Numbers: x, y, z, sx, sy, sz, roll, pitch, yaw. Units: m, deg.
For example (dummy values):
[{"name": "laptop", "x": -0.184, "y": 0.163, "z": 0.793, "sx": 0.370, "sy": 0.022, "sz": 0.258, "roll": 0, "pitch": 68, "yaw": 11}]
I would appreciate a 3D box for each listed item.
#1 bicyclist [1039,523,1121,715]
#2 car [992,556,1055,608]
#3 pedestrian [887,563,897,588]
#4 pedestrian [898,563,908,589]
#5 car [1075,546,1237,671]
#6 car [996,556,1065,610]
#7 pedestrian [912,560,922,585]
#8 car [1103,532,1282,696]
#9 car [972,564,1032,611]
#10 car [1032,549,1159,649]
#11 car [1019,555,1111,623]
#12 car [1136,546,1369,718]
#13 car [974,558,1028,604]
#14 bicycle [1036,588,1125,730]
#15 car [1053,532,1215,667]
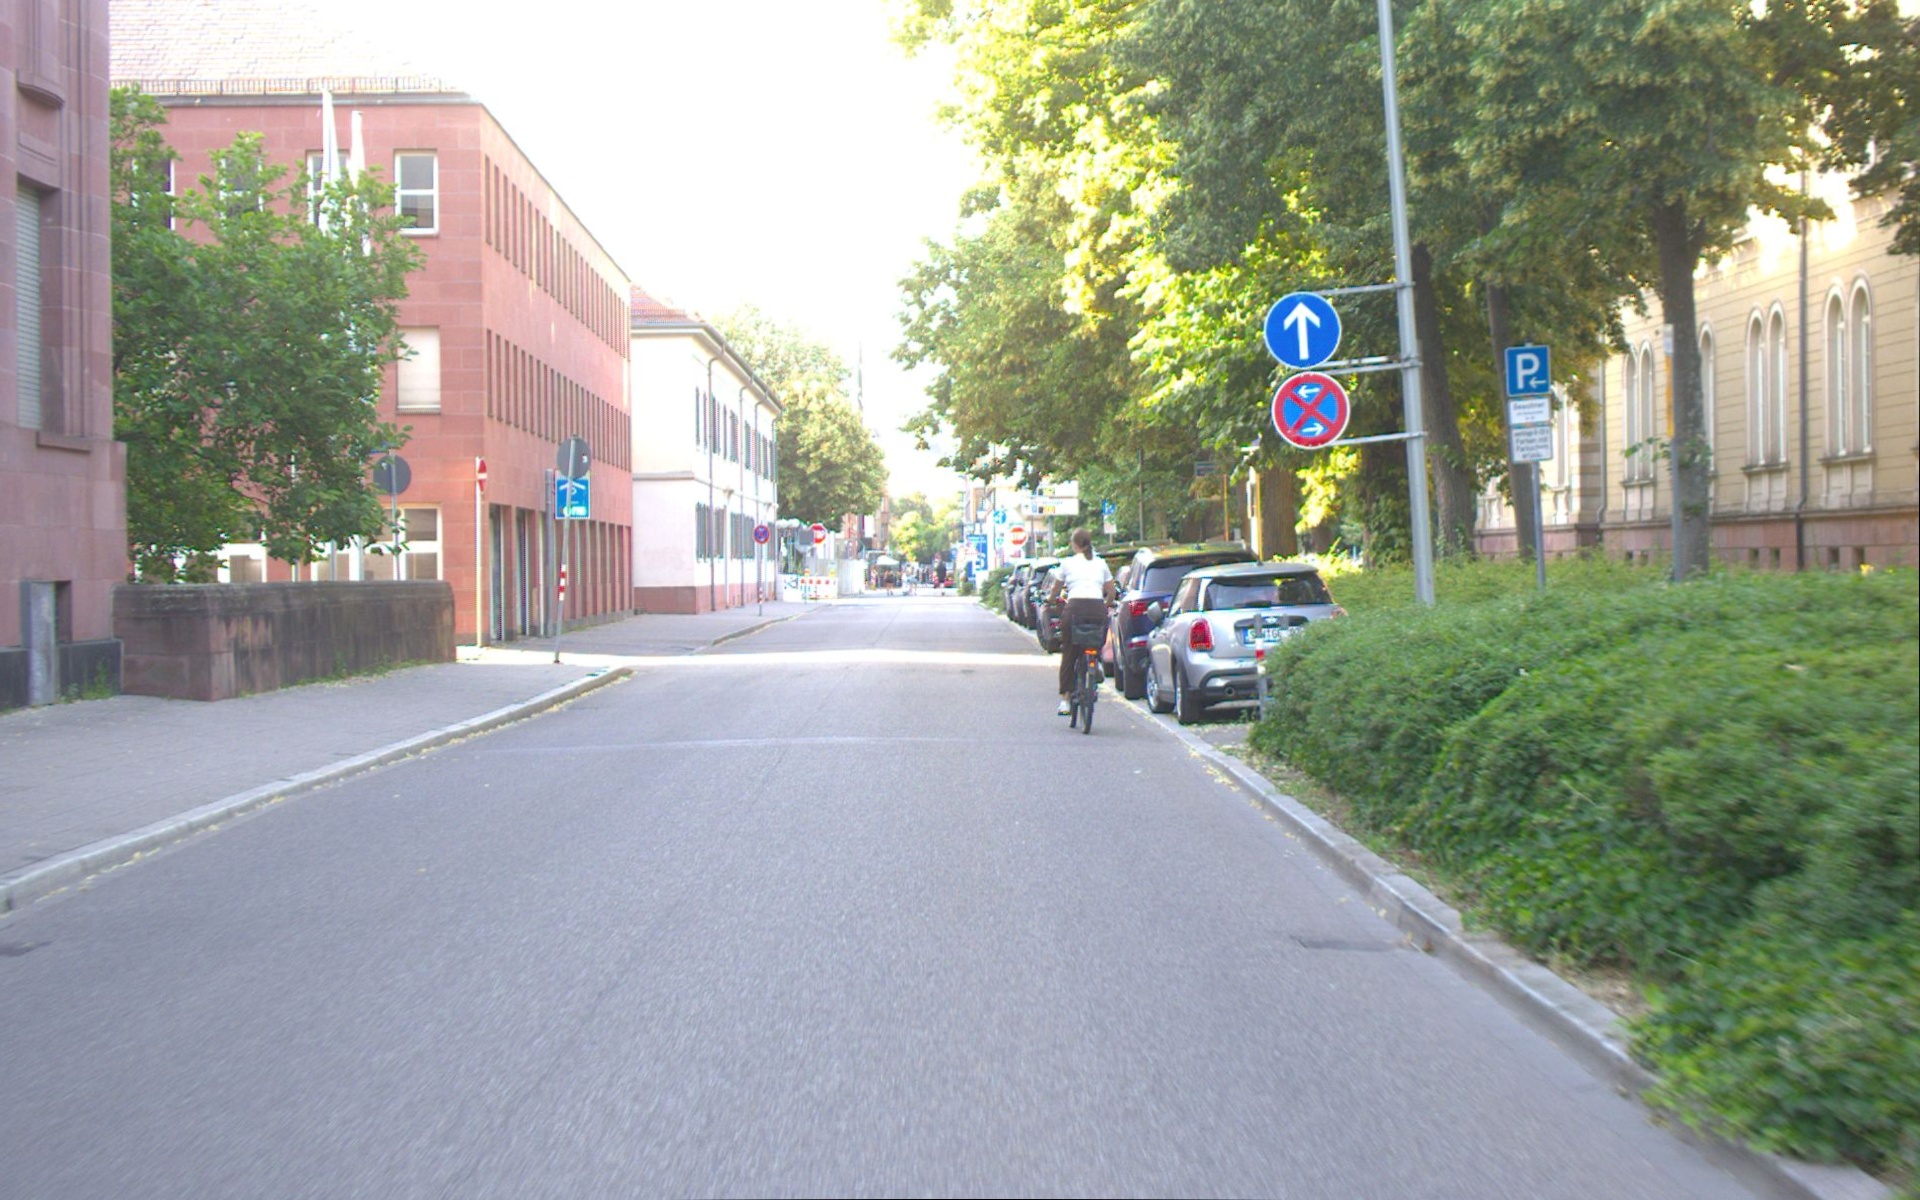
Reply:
[{"name": "bicyclist", "x": 1.052, "y": 0.161, "z": 30.344, "sx": 0.639, "sy": 1.662, "sz": 0.843, "roll": 1, "pitch": 0, "yaw": -2}, {"name": "car", "x": 2.200, "y": -0.647, "z": 120.344, "sx": 1.993, "sy": 1.743, "sz": 4.000, "roll": -1, "pitch": 1, "yaw": -1}, {"name": "pedestrian", "x": -3.978, "y": -1.418, "z": 200.198, "sx": 0.534, "sy": 1.467, "sz": 0.449, "roll": -1, "pitch": 1, "yaw": -2}, {"name": "pedestrian", "x": -3.299, "y": -1.393, "z": 197.737, "sx": 0.534, "sy": 1.467, "sz": 0.449, "roll": -1, "pitch": 1, "yaw": -2}, {"name": "car", "x": 2.522, "y": 0.078, "z": 45.015, "sx": 1.715, "sy": 1.532, "sz": 4.049, "roll": -1, "pitch": 1, "yaw": -2}, {"name": "car", "x": 2.212, "y": -0.553, "z": 108.868, "sx": 1.993, "sy": 1.623, "sz": 4.000, "roll": -1, "pitch": 1, "yaw": -1}, {"name": "pedestrian", "x": -2.499, "y": -1.576, "z": 197.586, "sx": 0.534, "sy": 1.467, "sz": 0.449, "roll": -1, "pitch": 1, "yaw": -2}, {"name": "car", "x": 2.572, "y": 0.116, "z": 38.855, "sx": 1.715, "sy": 1.706, "sz": 4.473, "roll": -1, "pitch": 1, "yaw": 0}, {"name": "car", "x": 1.712, "y": -0.539, "z": 142.592, "sx": 2.281, "sy": 1.848, "sz": 4.910, "roll": -1, "pitch": 1, "yaw": -1}, {"name": "car", "x": 2.411, "y": -0.046, "z": 62.104, "sx": 1.993, "sy": 1.700, "sz": 4.000, "roll": -1, "pitch": 1, "yaw": -1}, {"name": "car", "x": 2.535, "y": -0.275, "z": 84.063, "sx": 1.993, "sy": 1.579, "sz": 4.000, "roll": -1, "pitch": 1, "yaw": -1}, {"name": "car", "x": 2.703, "y": 0.293, "z": 32.471, "sx": 1.685, "sy": 1.442, "sz": 3.672, "roll": -3, "pitch": 0, "yaw": -2}, {"name": "car", "x": 2.014, "y": -0.977, "z": 170.583, "sx": 2.493, "sy": 2.188, "sz": 4.910, "roll": -1, "pitch": 1, "yaw": -1}, {"name": "bicycle", "x": 1.050, "y": 0.503, "z": 30.308, "sx": 0.638, "sy": 1.189, "sz": 1.876, "roll": 1, "pitch": 1, "yaw": -2}, {"name": "car", "x": 2.462, "y": -0.029, "z": 49.500, "sx": 1.993, "sy": 1.809, "sz": 4.000, "roll": -1, "pitch": 1, "yaw": -1}]
